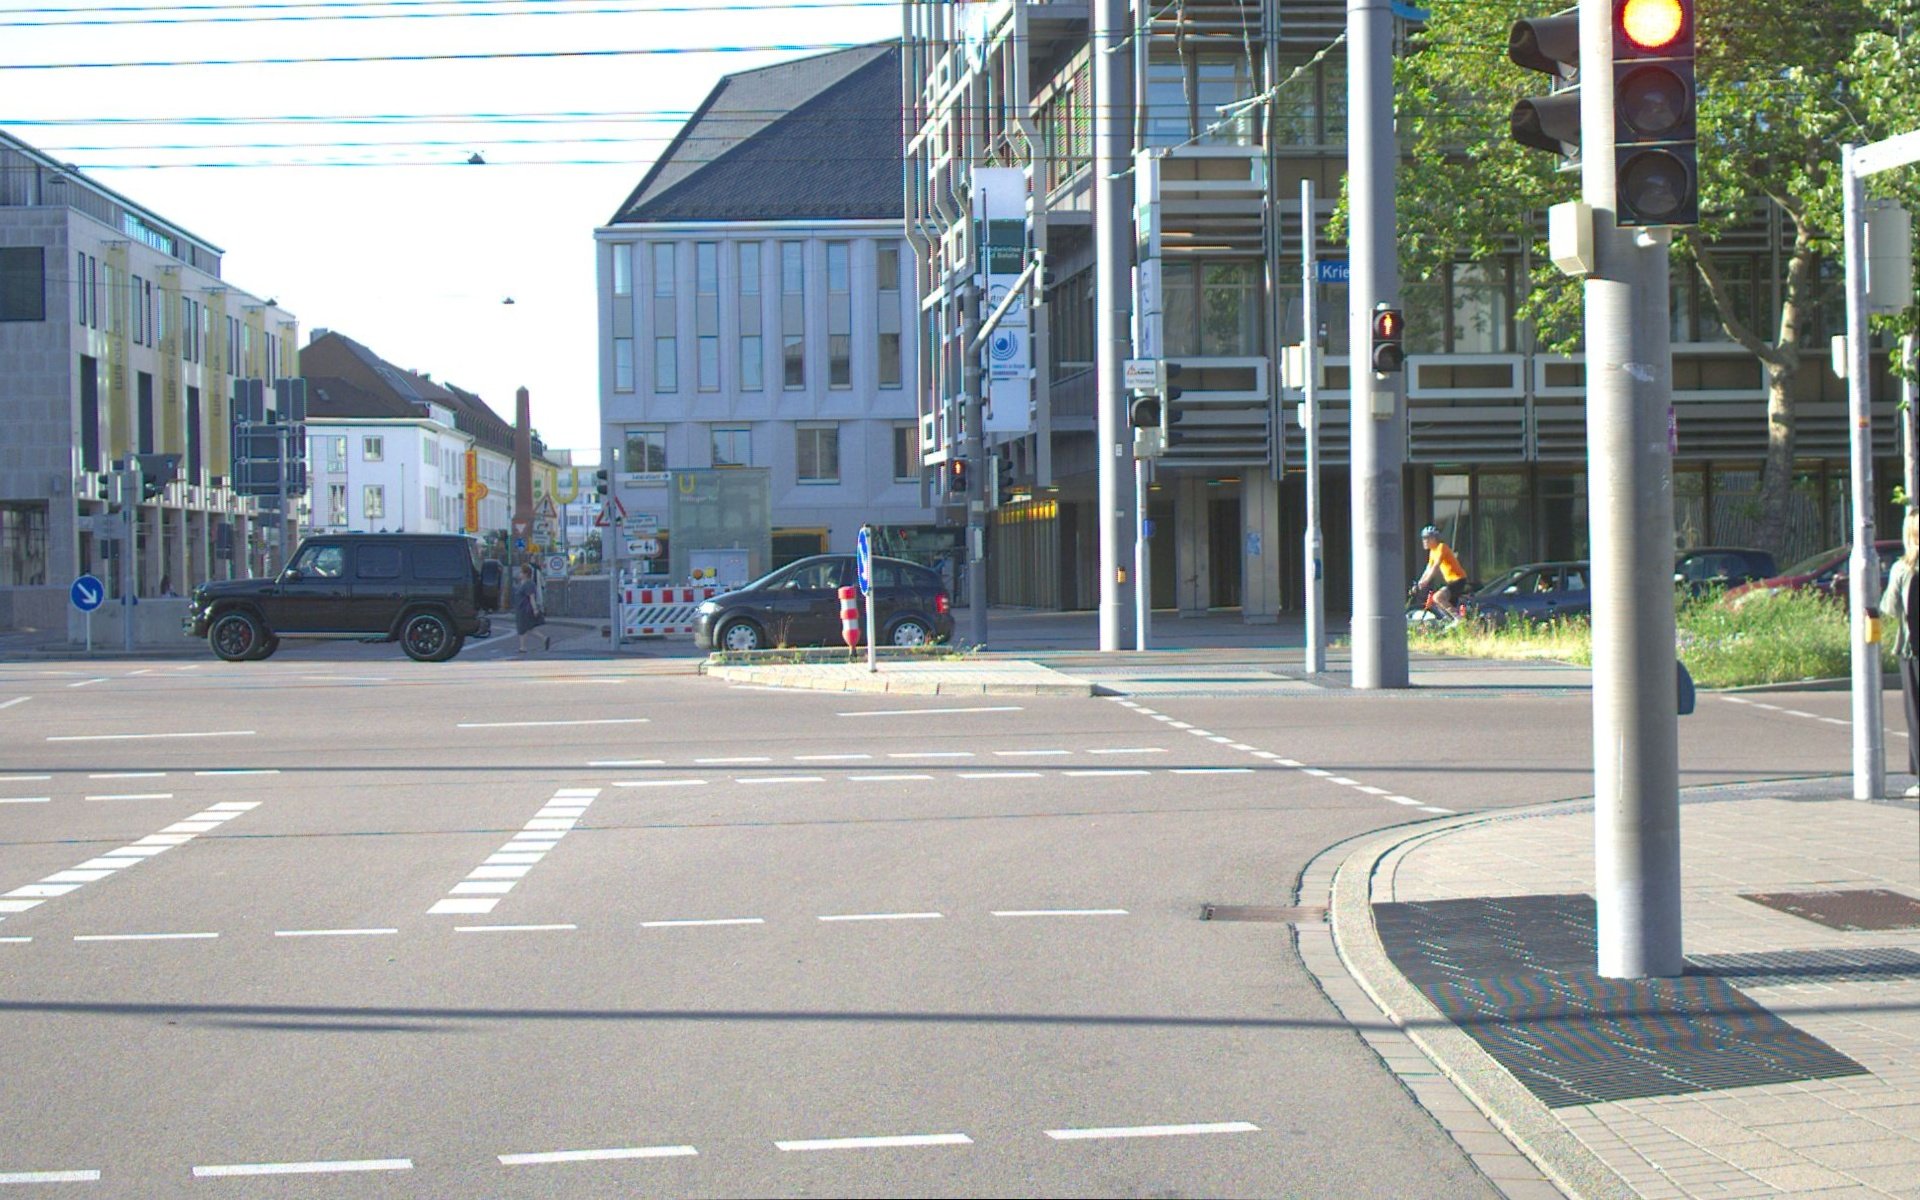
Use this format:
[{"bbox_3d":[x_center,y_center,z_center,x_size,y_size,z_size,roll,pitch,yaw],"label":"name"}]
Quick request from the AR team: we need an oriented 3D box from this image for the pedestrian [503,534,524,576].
[{"bbox_3d":[-21.391,-2.156,164.680,0.910,1.958,0.823,1,0,-1],"label":"pedestrian"}]

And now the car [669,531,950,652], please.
[{"bbox_3d":[-2.173,-0.140,49.909,3.986,1.678,1.761,-1,1,-1],"label":"car"}]

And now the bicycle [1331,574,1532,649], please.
[{"bbox_3d":[6.454,0.154,47.110,2.568,0.972,1.047,-1,1,-3],"label":"bicycle"}]

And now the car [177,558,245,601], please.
[{"bbox_3d":[-26.565,-0.744,122.007,1.658,1.453,3.542,-1,1,-1],"label":"car"}]

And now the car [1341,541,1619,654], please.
[{"bbox_3d":[8.101,-0.054,53.799,3.986,1.678,1.826,-1,1,-3],"label":"car"}]

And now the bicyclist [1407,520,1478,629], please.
[{"bbox_3d":[6.611,-0.354,47.120,0.822,1.469,0.652,-1,1,-4],"label":"bicyclist"}]

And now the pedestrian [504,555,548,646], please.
[{"bbox_3d":[-8.066,0.006,63.919,0.700,1.682,0.619,-1,1,0],"label":"pedestrian"}]

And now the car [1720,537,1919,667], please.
[{"bbox_3d":[12.670,-0.002,46.463,4.287,1.678,1.826,-1,1,-11],"label":"car"}]

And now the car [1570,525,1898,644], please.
[{"bbox_3d":[11.478,-0.243,51.156,4.403,1.678,1.826,-1,1,-3],"label":"car"}]

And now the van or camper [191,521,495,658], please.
[{"bbox_3d":[-9.452,-0.176,52.987,4.414,2.007,1.995,-1,1,-5],"label":"van or camper"}]

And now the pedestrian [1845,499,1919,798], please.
[{"bbox_3d":[5.388,0.252,18.949,0.765,1.608,0.874,-1,1,-2],"label":"pedestrian"}]

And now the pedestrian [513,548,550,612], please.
[{"bbox_3d":[-11.924,-0.559,95.693,0.899,1.776,0.808,-1,1,-1],"label":"pedestrian"}]
